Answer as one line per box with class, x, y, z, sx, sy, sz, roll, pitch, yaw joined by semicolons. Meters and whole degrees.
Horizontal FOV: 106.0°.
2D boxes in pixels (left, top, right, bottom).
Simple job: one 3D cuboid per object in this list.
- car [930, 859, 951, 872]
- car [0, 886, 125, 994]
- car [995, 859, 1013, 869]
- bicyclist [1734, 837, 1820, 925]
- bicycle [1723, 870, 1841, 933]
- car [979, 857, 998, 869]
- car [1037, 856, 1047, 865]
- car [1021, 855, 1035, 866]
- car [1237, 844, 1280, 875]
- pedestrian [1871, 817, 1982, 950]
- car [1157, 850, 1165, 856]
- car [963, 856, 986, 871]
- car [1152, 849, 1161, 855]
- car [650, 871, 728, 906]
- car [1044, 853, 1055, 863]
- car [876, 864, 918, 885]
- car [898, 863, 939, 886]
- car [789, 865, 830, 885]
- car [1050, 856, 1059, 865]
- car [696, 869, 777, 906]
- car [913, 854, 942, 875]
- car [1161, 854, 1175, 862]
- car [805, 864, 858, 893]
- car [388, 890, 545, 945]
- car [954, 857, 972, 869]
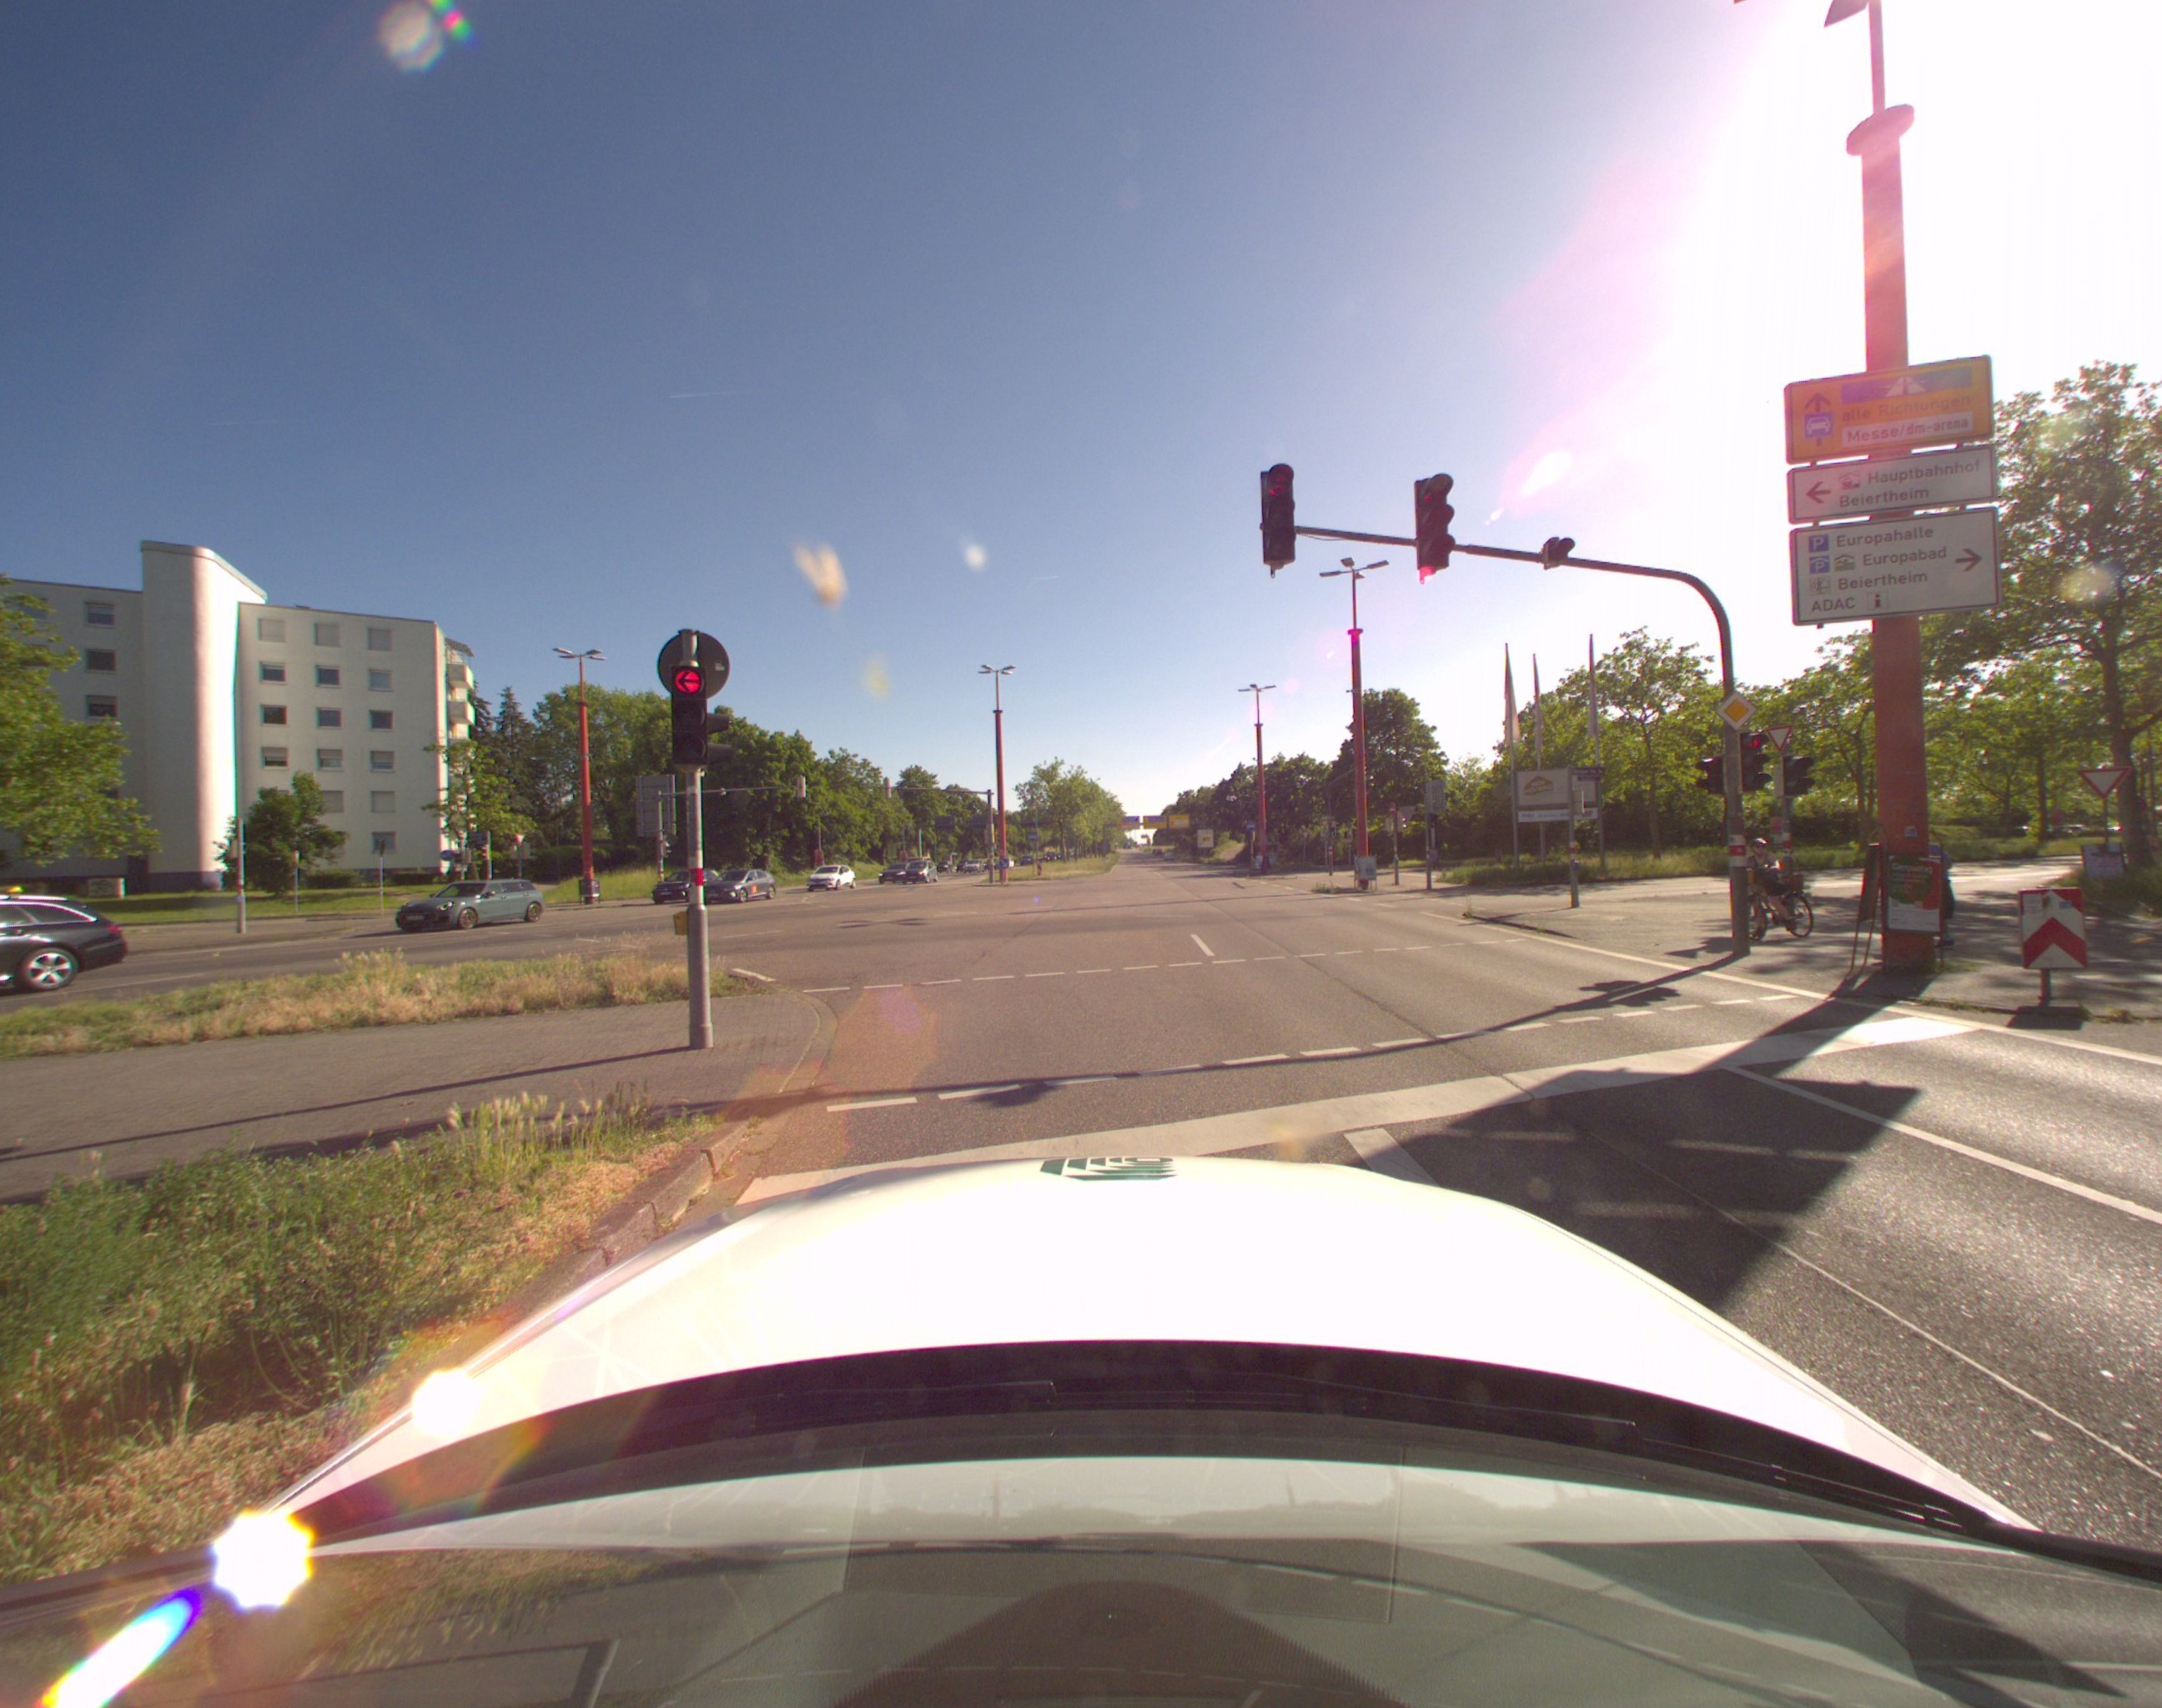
car;-18.217;1.499;105.654;1.987;1.638;3.999;-1;-1;0
car;-16.375;1.255;10.803;1.869;1.485;4.607;-1;-1;2
car;-10.722;1.427;113.344;1.997;1.308;4.000;-2;0;0
bicyclist;11.071;0.422;12.972;0.739;1.341;0.705;-2;0;-9
bicycle;11.121;0.724;12.895;2.172;0.878;0.555;-2;0;-25
car;-11.532;1.115;101.527;1.696;1.558;3.807;-1;-1;4
car;-9.276;1.488;193.169;1.997;2.014;4.000;-1;-1;0
car;-8.679;1.074;133.542;1.618;1.739;4.005;-2;0;5
car;11.762;0.333;53.734;1.976;1.887;4.022;-2;0;23
pedestrian;11.988;0.387;11.555;0.897;1.788;0.891;-1;0;-30
car;20.409;-0.195;207.422;1.730;1.341;3.084;-2;0;3
car;-11.556;1.010;88.455;1.696;1.596;4.004;-1;-1;4
car;21.442;-0.504;232.379;1.990;1.496;3.994;-2;0;-4
car;-18.479;1.584;38.580;1.537;1.433;3.889;-3;-1;3
car;-5.749;0.781;149.539;1.649;1.747;4.005;-1;-1;4
car;-13.169;1.439;58.603;1.621;1.368;4.801;-2;0;4
car;-10.655;1.334;53.659;1.693;1.421;4.003;1;-1;3
car;-18.512;1.390;55.640;1.448;1.273;3.614;-1;-1;2
car;-6.081;1.387;186.220;1.997;2.014;4.000;-1;-1;0
car;-15.064;1.427;35.876;1.542;1.377;4.265;-2;0;3
car;-15.191;1.062;80.740;1.750;1.987;4.793;-1;-1;3
car;15.856;0.692;148.166;2.047;1.371;4.392;-2;0;1
car;-14.224;1.372;46.621;1.598;1.459;3.954;-2;0;4
car;-18.545;1.874;24.827;1.424;1.388;4.144;-1;-1;4
car;-14.855;1.179;102.434;1.622;1.450;3.437;-1;-1;3
